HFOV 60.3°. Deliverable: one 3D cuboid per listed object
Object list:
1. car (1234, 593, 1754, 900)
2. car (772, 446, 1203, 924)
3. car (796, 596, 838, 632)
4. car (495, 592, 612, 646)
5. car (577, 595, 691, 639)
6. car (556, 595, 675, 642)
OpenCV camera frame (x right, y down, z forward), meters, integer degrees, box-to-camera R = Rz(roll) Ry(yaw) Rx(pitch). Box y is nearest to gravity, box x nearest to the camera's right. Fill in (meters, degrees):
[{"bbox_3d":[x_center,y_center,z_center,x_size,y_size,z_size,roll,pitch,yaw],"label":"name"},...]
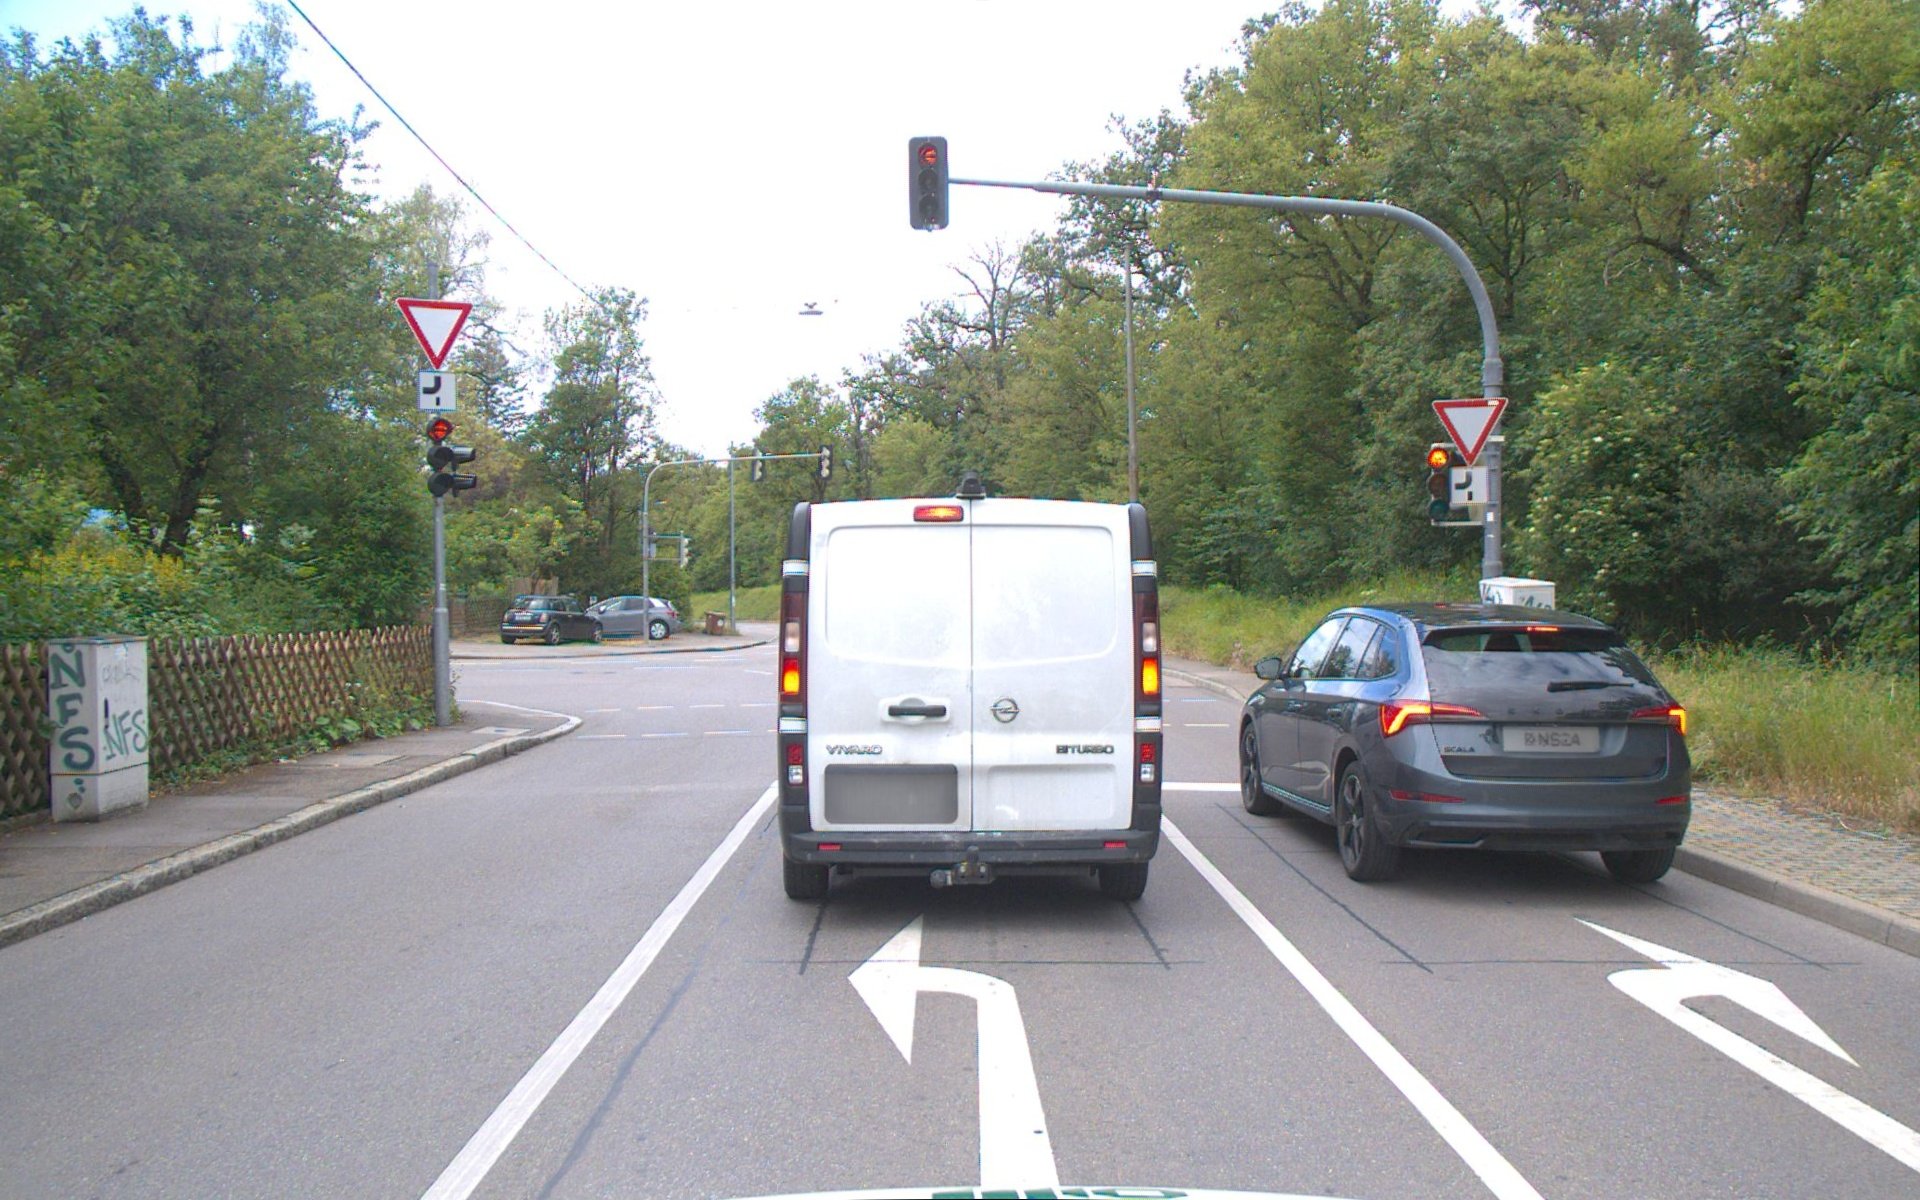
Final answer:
[{"bbox_3d":[2.933,0.700,10.037,1.756,1.476,3.999,0,0,-2],"label":"car"},{"bbox_3d":[0.016,0.375,9.666,1.878,2.089,4.611,1,0,-3],"label":"car"},{"bbox_3d":[-6.398,0.588,74.174,1.820,1.533,3.996,0,0,-5],"label":"car"},{"bbox_3d":[-11.951,0.545,48.808,1.662,1.474,3.544,2,0,19],"label":"car"},{"bbox_3d":[-12.272,0.628,62.188,4.022,1.580,1.845,0,1,-18],"label":"car"},{"bbox_3d":[-12.296,0.642,59.009,4.022,1.580,1.845,0,1,-18],"label":"car"}]
